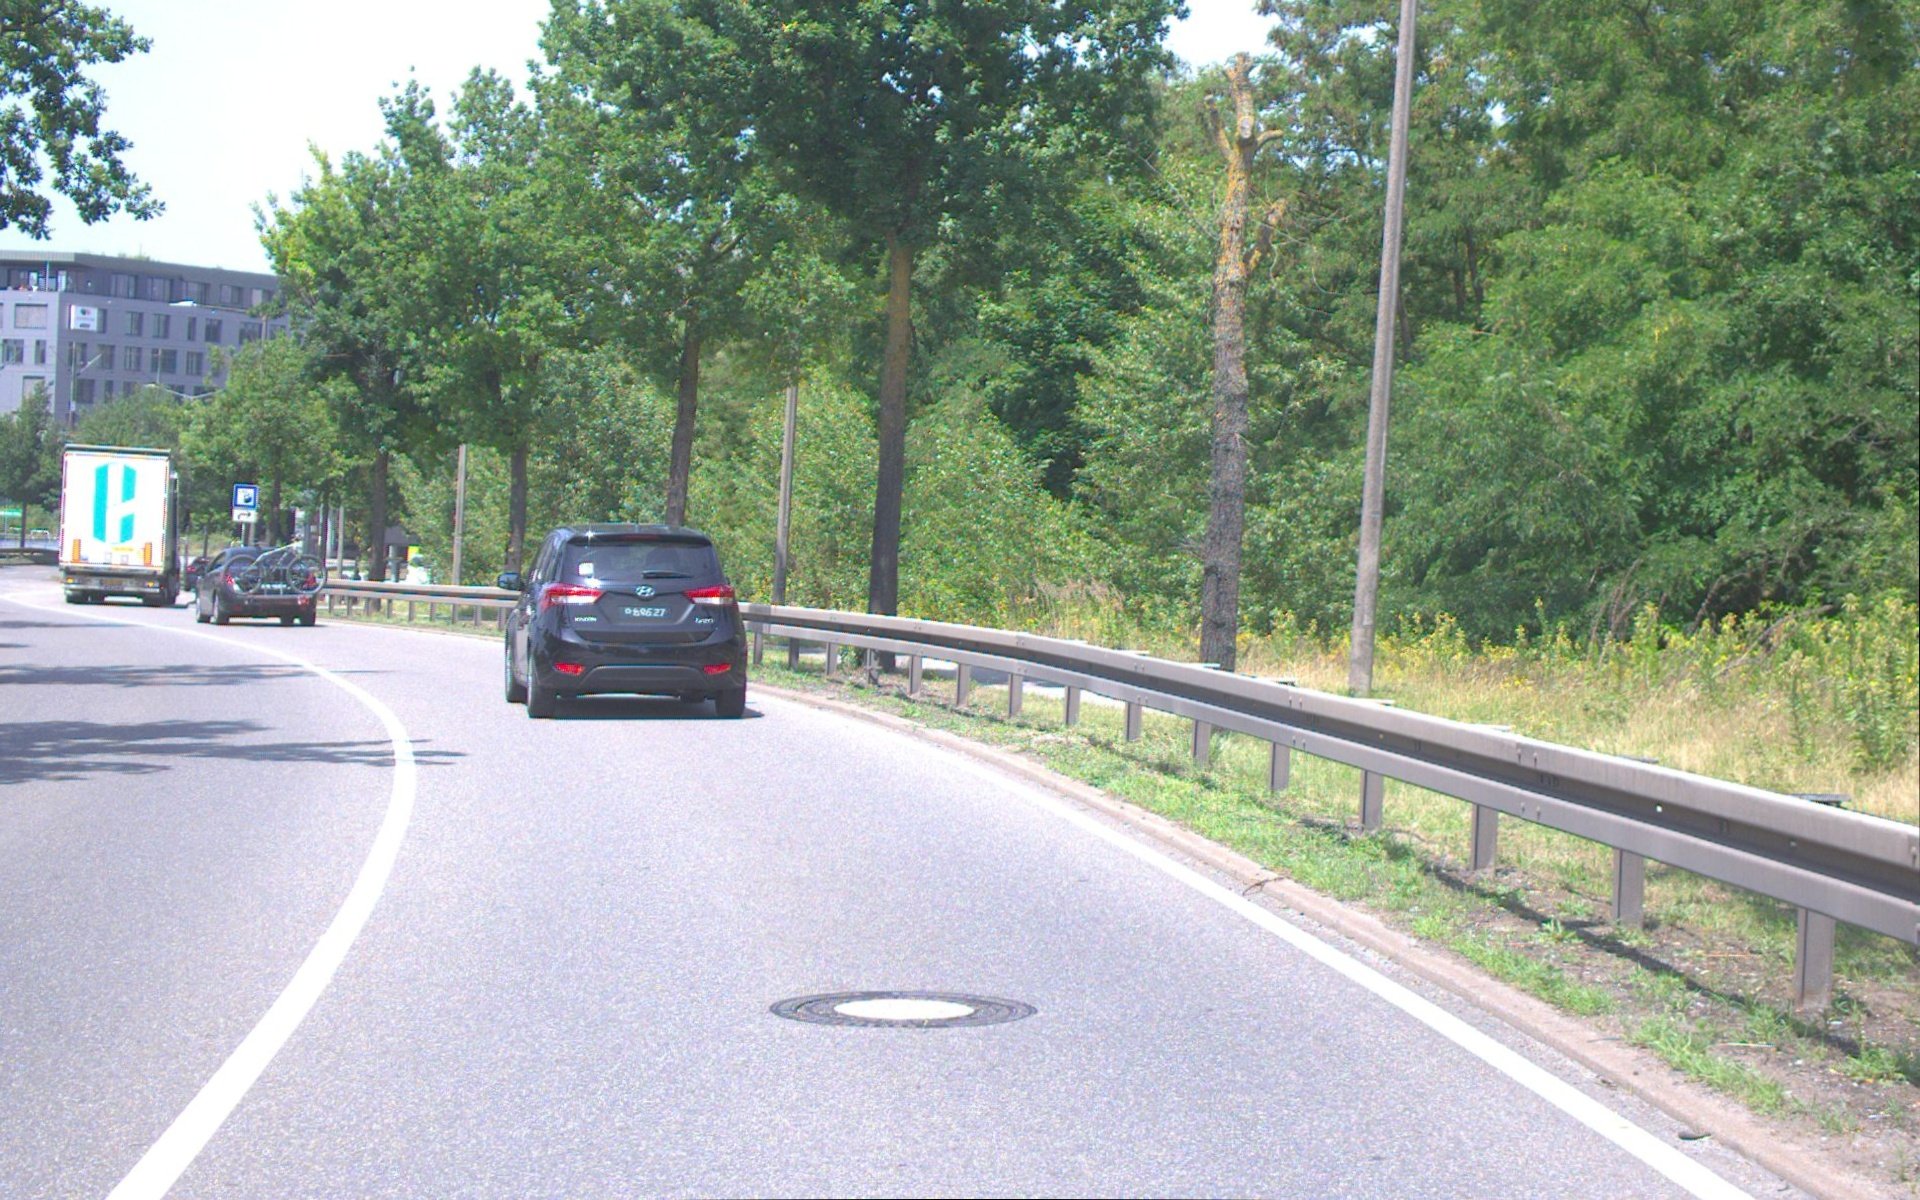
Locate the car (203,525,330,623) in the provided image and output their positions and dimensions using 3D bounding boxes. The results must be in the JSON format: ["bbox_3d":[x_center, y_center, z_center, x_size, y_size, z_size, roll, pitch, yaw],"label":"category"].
[{"bbox_3d":[-12.463,-0.474,61.619,1.956,1.628,4.281,2,0,-15],"label":"car"}]

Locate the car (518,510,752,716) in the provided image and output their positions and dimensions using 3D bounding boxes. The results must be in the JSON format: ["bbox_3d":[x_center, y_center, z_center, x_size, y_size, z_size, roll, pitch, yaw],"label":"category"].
[{"bbox_3d":[-2.692,0.051,29.242,1.767,1.593,4.078,0,2,-2],"label":"car"}]

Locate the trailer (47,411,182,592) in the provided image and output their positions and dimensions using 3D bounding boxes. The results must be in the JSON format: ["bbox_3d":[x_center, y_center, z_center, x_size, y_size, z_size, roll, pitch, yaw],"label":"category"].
[{"bbox_3d":[-22.660,-2.726,92.709,3.077,4.353,14.780,2,2,-13],"label":"trailer"}]
